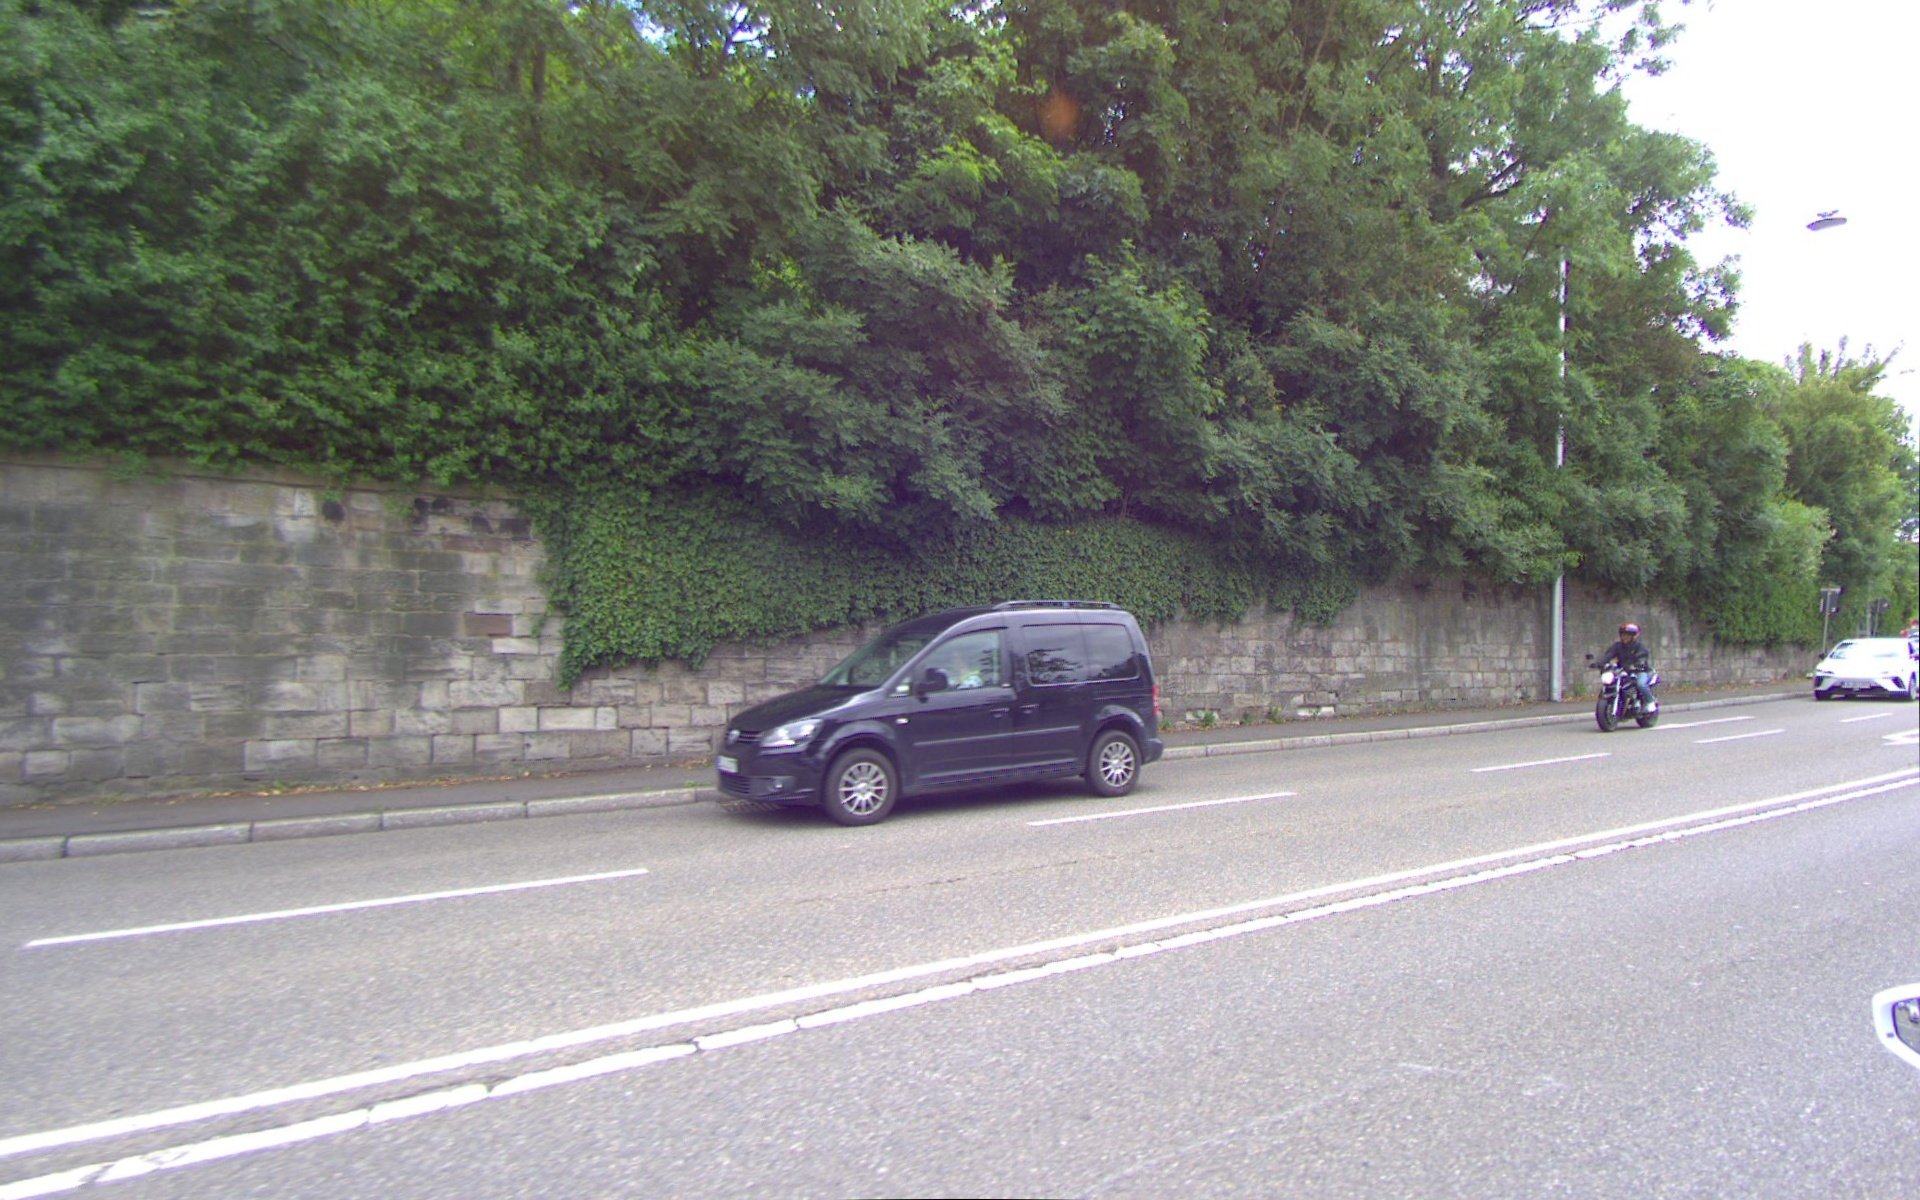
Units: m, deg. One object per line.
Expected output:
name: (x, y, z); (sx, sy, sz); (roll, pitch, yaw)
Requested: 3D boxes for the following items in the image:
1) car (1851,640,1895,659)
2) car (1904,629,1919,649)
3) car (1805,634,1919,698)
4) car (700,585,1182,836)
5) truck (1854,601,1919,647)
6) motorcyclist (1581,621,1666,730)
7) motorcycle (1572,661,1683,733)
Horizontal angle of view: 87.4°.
car: (69.778, 3.800, 76.790); (1.870, 1.400, 3.989); (-1, -3, 34)
car: (84.573, 3.395, 88.093); (1.815, 1.721, 3.990); (-1, -2, 32)
car: (22.824, 1.629, 25.091); (4.064, 1.485, 1.770); (2, -4, -38)
car: (-0.102, 0.914, 9.362); (4.201, 1.869, 1.735); (1, -4, -32)
truck: (81.296, 2.136, 88.290); (2.906, 3.747, 9.888); (0, -2, 35)
motorcyclist: (10.965, 1.225, 16.589); (1.324, 1.727, 0.645); (1, -3, -33)
motorcycle: (11.048, 1.570, 16.593); (2.283, 1.087, 0.646); (1, -3, -33)
